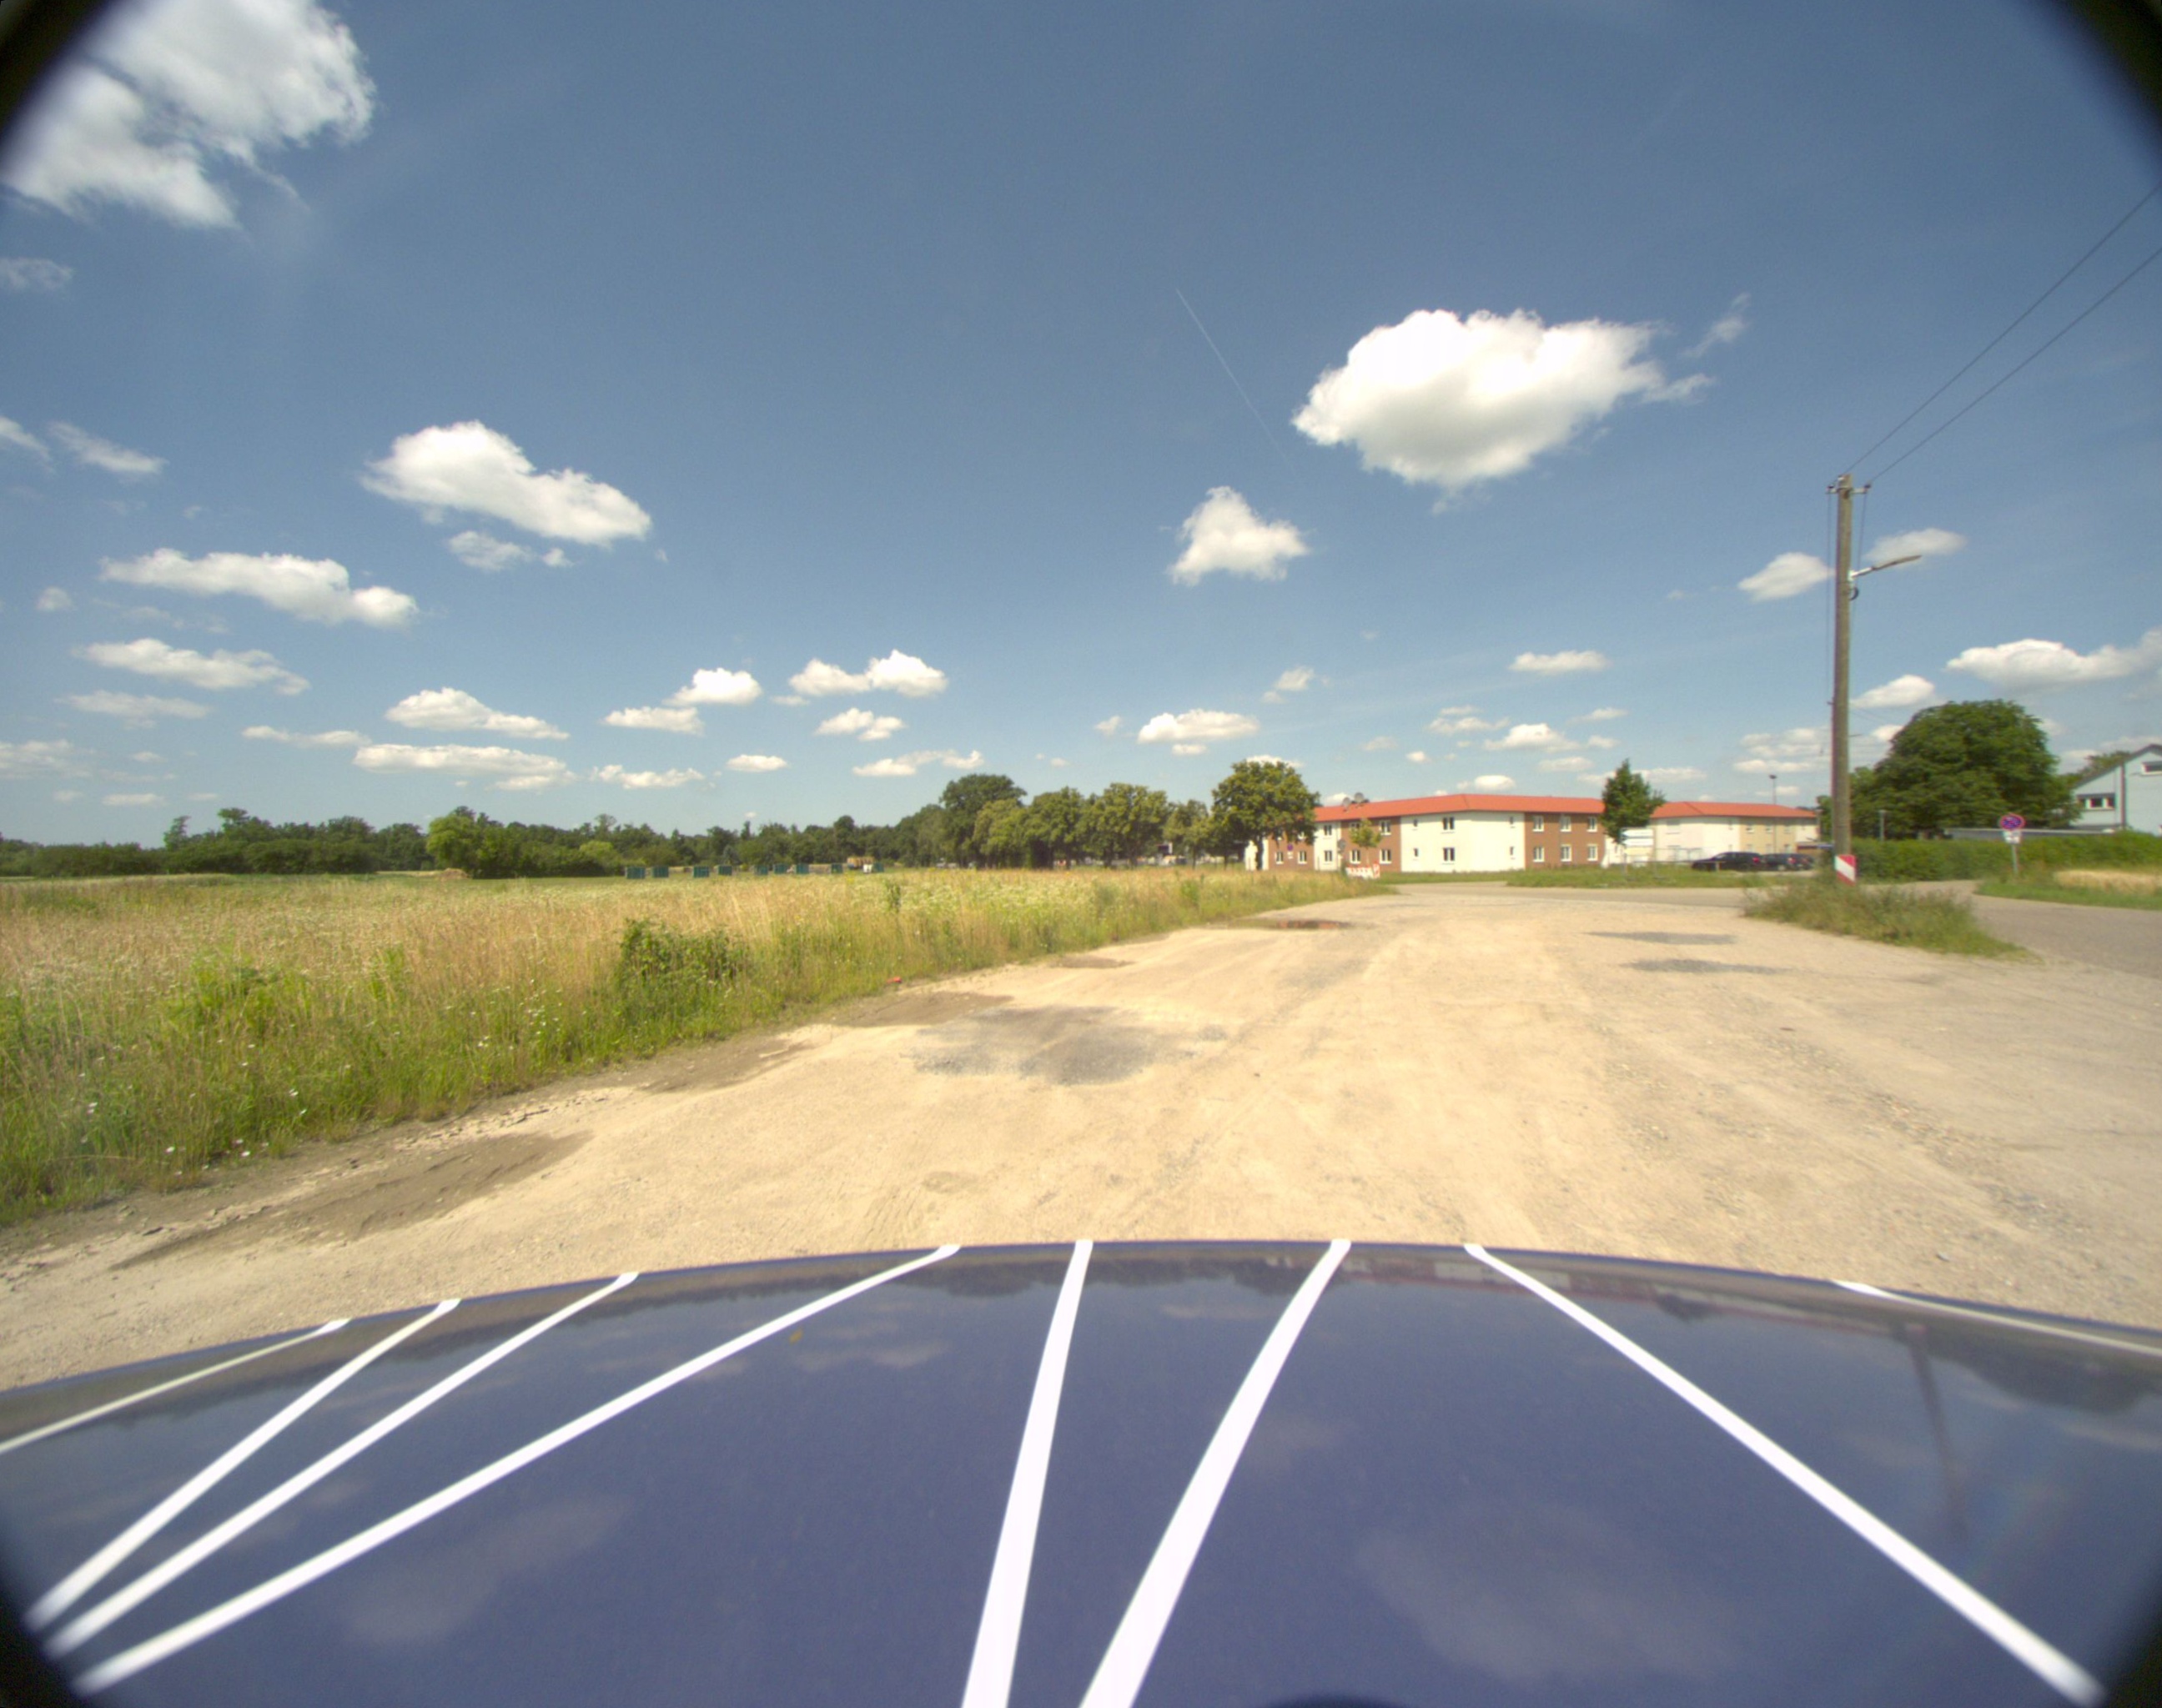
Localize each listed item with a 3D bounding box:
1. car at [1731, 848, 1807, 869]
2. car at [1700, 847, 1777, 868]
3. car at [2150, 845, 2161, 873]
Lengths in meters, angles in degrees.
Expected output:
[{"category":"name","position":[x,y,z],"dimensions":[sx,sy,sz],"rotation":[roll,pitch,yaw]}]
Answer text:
[{"category":"car","position":[55.433,0.342,61.295],"dimensions":[2.003,1.605,4.140],"rotation":[-1,0,-26]},{"category":"car","position":[51.736,0.261,59.898],"dimensions":[2.003,1.605,4.140],"rotation":[-1,0,-26]},{"category":"car","position":[67.543,0.233,46.474],"dimensions":[4.260,1.669,1.746],"rotation":[-2,0,-25]}]
